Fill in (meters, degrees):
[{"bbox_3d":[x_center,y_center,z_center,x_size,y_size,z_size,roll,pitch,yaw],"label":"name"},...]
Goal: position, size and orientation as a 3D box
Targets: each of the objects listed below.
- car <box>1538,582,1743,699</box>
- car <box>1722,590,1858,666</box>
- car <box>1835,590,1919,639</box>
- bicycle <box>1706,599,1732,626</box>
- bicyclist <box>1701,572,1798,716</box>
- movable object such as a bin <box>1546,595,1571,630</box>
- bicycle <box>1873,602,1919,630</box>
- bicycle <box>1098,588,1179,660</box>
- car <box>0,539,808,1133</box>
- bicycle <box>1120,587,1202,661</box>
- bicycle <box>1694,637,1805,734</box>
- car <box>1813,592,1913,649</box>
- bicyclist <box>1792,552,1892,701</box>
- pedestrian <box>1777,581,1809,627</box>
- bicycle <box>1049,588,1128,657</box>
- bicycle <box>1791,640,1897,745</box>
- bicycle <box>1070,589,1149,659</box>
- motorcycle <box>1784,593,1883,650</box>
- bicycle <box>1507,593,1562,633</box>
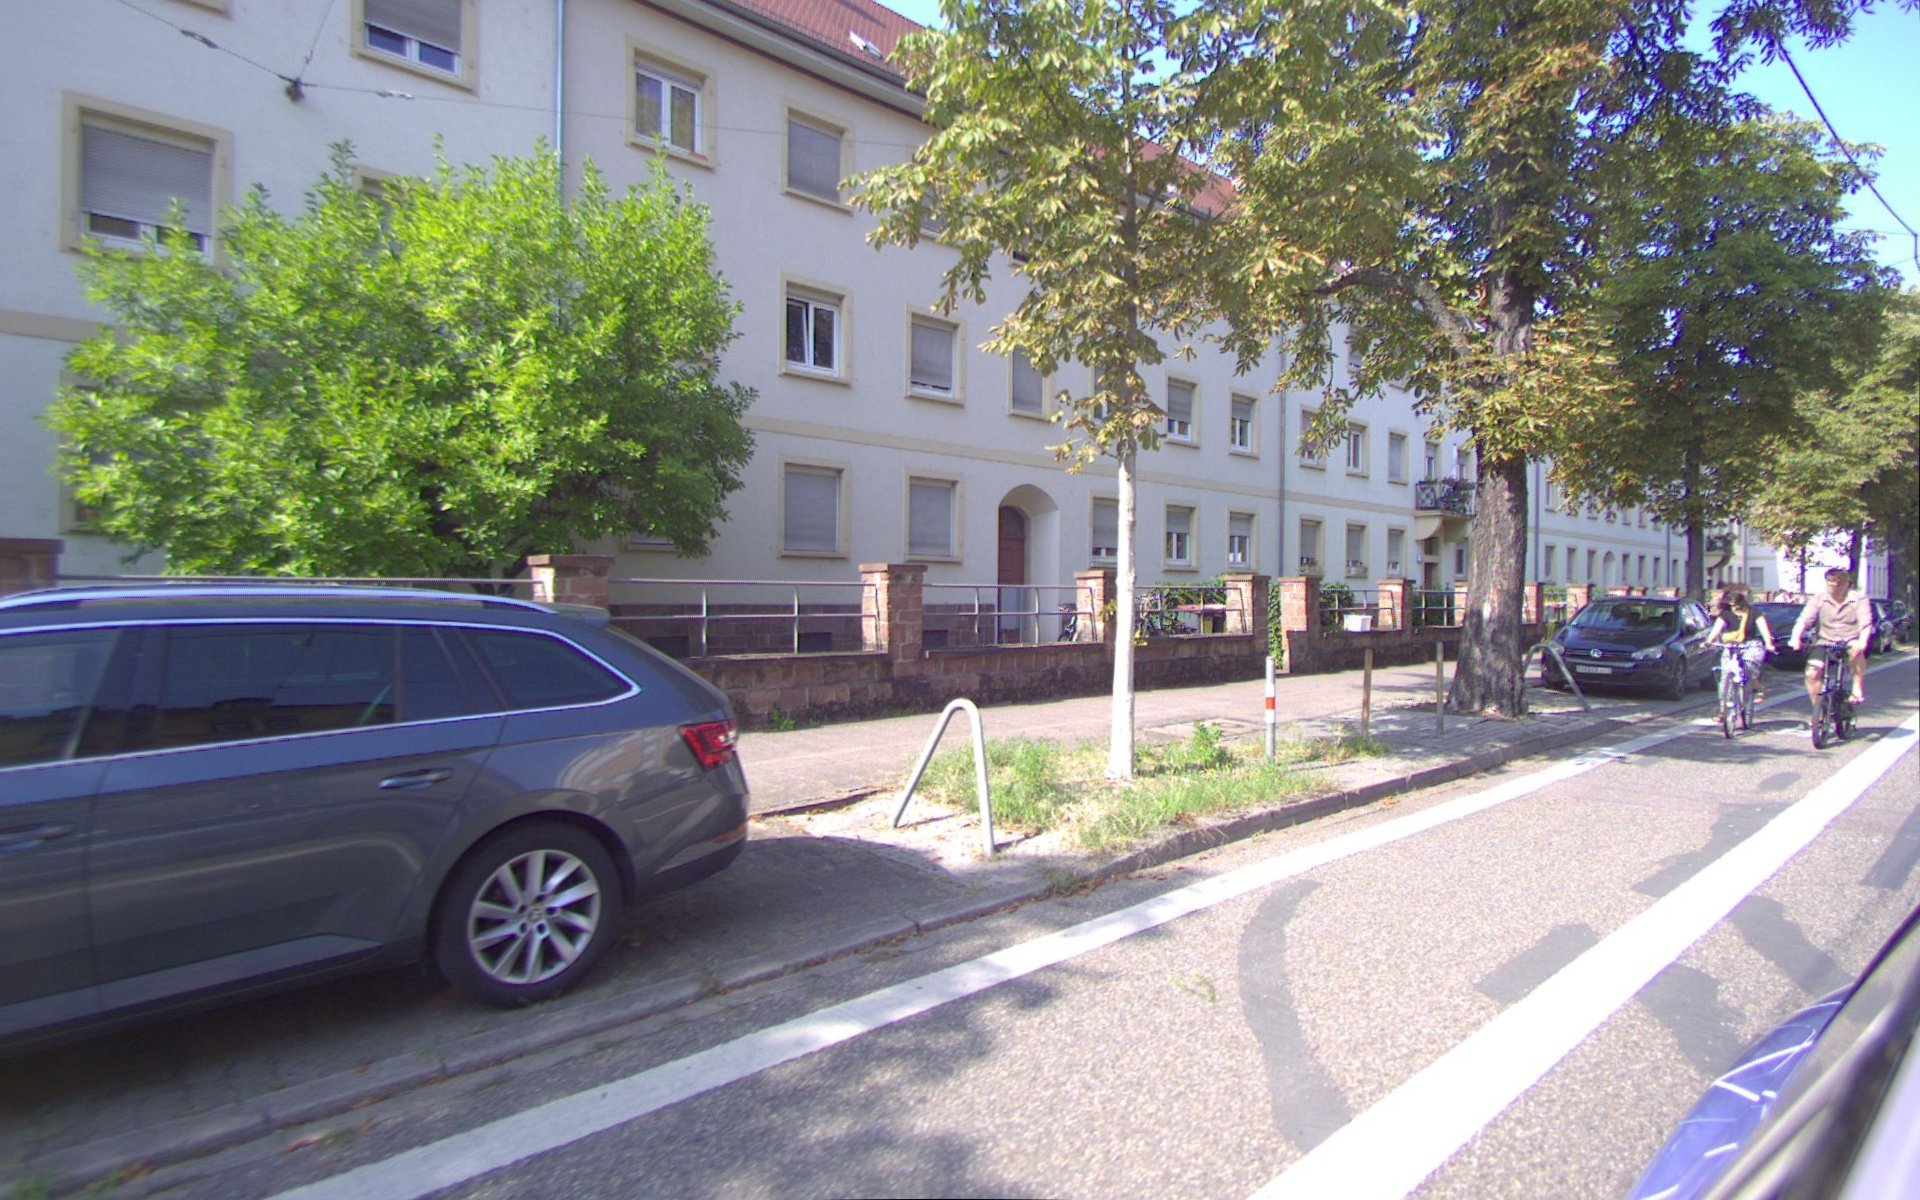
[{"bbox_3d":[10.609,0.519,15.667,4.026,1.520,1.692,-1,3,-42],"label":"car"},{"bbox_3d":[18.495,0.555,22.490,4.262,1.452,1.692,0,3,-42],"label":"car"},{"bbox_3d":[31.939,0.457,35.045,3.770,1.559,1.651,0,2,-36],"label":"car"},{"bbox_3d":[31.114,0.500,41.476,1.698,1.087,0.524,0,0,-41],"label":"bicycle"},{"bbox_3d":[8.595,0.456,11.015,0.893,1.493,0.655,0,-2,-42],"label":"bicyclist"},{"bbox_3d":[18.883,0.378,31.935,0.649,1.083,0.507,0,0,-41],"label":"movable object such as a bin"},{"bbox_3d":[36.554,0.612,39.311,1.696,1.087,0.525,0,0,1],"label":"bicycle"},{"bbox_3d":[2.776,0.351,15.670,1.462,1.073,0.416,0,1,-42],"label":"bicycle"},{"bbox_3d":[-2.962,0.608,3.488,4.637,1.580,1.747,-1,1,-41],"label":"car"},{"bbox_3d":[3.060,0.337,15.316,1.462,1.073,0.416,0,1,-42],"label":"bicycle"},{"bbox_3d":[8.595,0.886,10.990,1.745,0.920,0.655,0,-1,-43],"label":"bicycle"},{"bbox_3d":[26.258,0.543,29.382,4.172,1.466,1.648,0,2,-42],"label":"car"},{"bbox_3d":[8.903,0.256,10.215,0.913,1.419,0.627,0,-2,-42],"label":"bicyclist"},{"bbox_3d":[32.853,0.152,39.912,0.861,1.771,0.755,0,0,-35],"label":"pedestrian"},{"bbox_3d":[2.116,0.349,16.571,1.462,1.073,0.416,0,1,-42],"label":"bicycle"},{"bbox_3d":[8.925,0.894,10.202,1.499,0.920,0.627,0,-1,-43],"label":"bicycle"},{"bbox_3d":[2.411,0.361,16.215,1.462,1.073,0.416,0,1,-42],"label":"bicycle"},{"bbox_3d":[23.292,0.554,27.006,0.693,1.306,1.856,7,-1,-44],"label":"motorcycle"},{"bbox_3d":[16.662,0.364,29.335,2.295,1.118,0.772,0,0,-44],"label":"bicycle"}]
